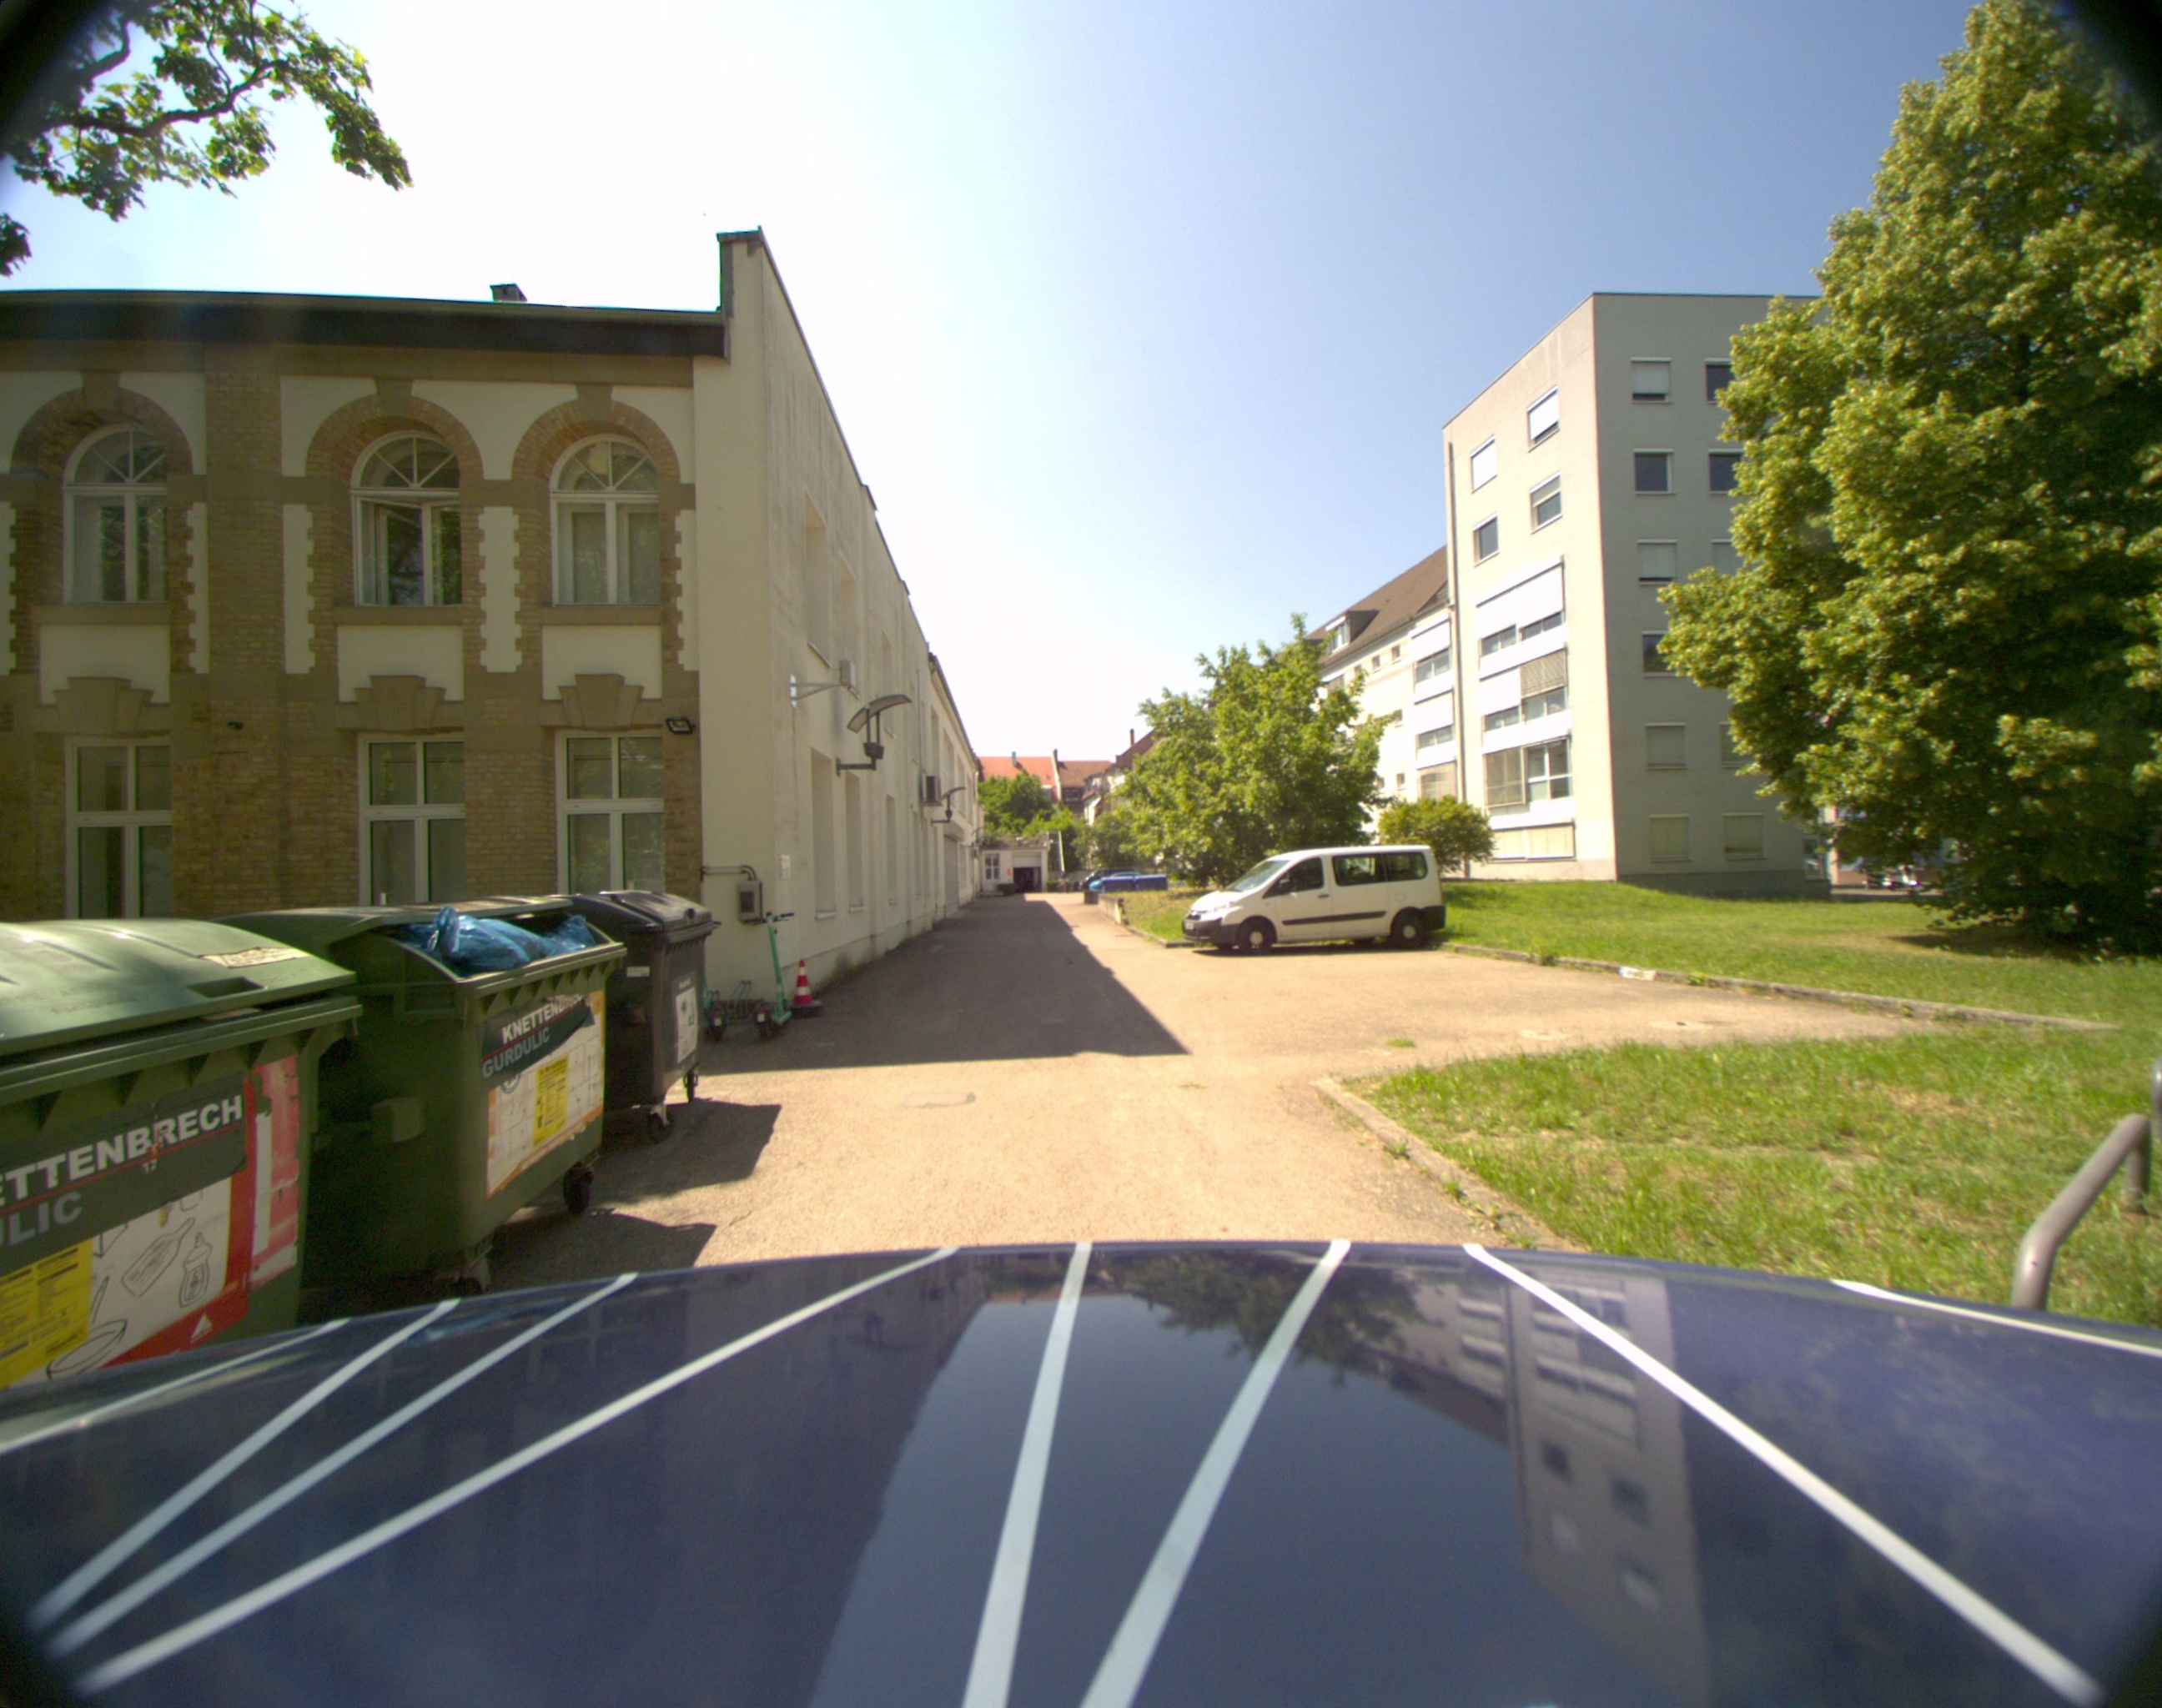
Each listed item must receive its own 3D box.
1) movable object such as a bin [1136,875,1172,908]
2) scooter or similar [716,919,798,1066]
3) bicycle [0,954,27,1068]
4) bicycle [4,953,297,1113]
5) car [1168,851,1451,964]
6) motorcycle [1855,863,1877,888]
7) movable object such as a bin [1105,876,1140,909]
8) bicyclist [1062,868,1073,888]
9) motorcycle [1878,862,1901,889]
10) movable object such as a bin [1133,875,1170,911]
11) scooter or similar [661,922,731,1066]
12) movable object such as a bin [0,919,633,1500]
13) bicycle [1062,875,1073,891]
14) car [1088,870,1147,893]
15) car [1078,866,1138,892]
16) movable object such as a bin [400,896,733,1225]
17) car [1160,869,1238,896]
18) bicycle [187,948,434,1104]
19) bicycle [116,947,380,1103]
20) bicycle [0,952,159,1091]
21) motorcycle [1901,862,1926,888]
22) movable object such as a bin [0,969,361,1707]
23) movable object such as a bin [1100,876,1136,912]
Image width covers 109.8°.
[{"bbox_3d":[3.026,1.538,31.643,1.258,1.319,1.104,-2,-1,-4],"label":"movable object such as a bin"},{"bbox_3d":[-3.078,1.263,7.305,0.465,1.167,1.356,-2,0,-13],"label":"scooter or similar"},{"bbox_3d":[-10.661,1.550,7.052,0.473,1.096,1.831,-1,-2,-36],"label":"bicycle"},{"bbox_3d":[-8.373,1.548,6.983,0.504,1.061,1.835,-2,-1,-3],"label":"bicycle"},{"bbox_3d":[4.299,0.968,14.691,4.804,1.899,1.999,-1,-2,-9],"label":"car"},{"bbox_3d":[37.752,1.028,36.548,2.308,1.161,0.698,-1,-1,-44],"label":"motorcycle"},{"bbox_3d":[1.721,1.585,31.491,1.258,1.319,1.104,-2,-1,-4],"label":"movable object such as a bin"},{"bbox_3d":[-1.061,1.897,60.653,0.724,1.599,0.979,-2,-1,6],"label":"bicyclist"},{"bbox_3d":[38.356,1.010,36.058,2.316,1.161,0.698,-1,-1,-44],"label":"motorcycle"},{"bbox_3d":[2.749,1.515,29.804,1.258,1.319,1.104,-2,-1,-4],"label":"movable object such as a bin"},{"bbox_3d":[-3.693,1.288,7.350,0.465,1.167,1.254,-2,0,-22],"label":"scooter or similar"},{"bbox_3d":[-2.624,1.055,2.858,1.183,1.461,1.310,-2,0,-11],"label":"movable object such as a bin"},{"bbox_3d":[-1.041,2.302,60.719,0.645,1.167,1.906,-2,-1,5],"label":"bicycle"},{"bbox_3d":[2.737,2.063,57.508,4.170,1.544,1.858,-1,-1,-9],"label":"car"},{"bbox_3d":[2.099,1.937,60.126,4.451,1.821,1.999,-2,0,-8],"label":"car"},{"bbox_3d":[-2.911,1.062,4.574,1.159,1.496,1.461,-2,0,-13],"label":"movable object such as a bin"},{"bbox_3d":[6.624,1.591,42.699,4.000,1.427,1.710,-1,-1,-8],"label":"car"},{"bbox_3d":[-7.055,1.511,7.102,0.504,1.061,1.835,-2,-1,-3],"label":"bicycle"},{"bbox_3d":[-7.625,1.500,7.099,0.504,1.061,1.835,-2,-1,-3],"label":"bicycle"},{"bbox_3d":[-9.661,1.525,6.850,0.523,1.096,1.835,-2,-2,-3],"label":"bicycle"},{"bbox_3d":[38.935,0.969,35.549,2.337,1.161,0.698,-1,-1,-44],"label":"motorcycle"},{"bbox_3d":[-2.614,1.081,1.470,1.183,1.461,1.310,-2,0,-8],"label":"movable object such as a bin"},{"bbox_3d":[1.432,1.563,29.681,1.258,1.319,1.104,-2,-1,-4],"label":"movable object such as a bin"}]
